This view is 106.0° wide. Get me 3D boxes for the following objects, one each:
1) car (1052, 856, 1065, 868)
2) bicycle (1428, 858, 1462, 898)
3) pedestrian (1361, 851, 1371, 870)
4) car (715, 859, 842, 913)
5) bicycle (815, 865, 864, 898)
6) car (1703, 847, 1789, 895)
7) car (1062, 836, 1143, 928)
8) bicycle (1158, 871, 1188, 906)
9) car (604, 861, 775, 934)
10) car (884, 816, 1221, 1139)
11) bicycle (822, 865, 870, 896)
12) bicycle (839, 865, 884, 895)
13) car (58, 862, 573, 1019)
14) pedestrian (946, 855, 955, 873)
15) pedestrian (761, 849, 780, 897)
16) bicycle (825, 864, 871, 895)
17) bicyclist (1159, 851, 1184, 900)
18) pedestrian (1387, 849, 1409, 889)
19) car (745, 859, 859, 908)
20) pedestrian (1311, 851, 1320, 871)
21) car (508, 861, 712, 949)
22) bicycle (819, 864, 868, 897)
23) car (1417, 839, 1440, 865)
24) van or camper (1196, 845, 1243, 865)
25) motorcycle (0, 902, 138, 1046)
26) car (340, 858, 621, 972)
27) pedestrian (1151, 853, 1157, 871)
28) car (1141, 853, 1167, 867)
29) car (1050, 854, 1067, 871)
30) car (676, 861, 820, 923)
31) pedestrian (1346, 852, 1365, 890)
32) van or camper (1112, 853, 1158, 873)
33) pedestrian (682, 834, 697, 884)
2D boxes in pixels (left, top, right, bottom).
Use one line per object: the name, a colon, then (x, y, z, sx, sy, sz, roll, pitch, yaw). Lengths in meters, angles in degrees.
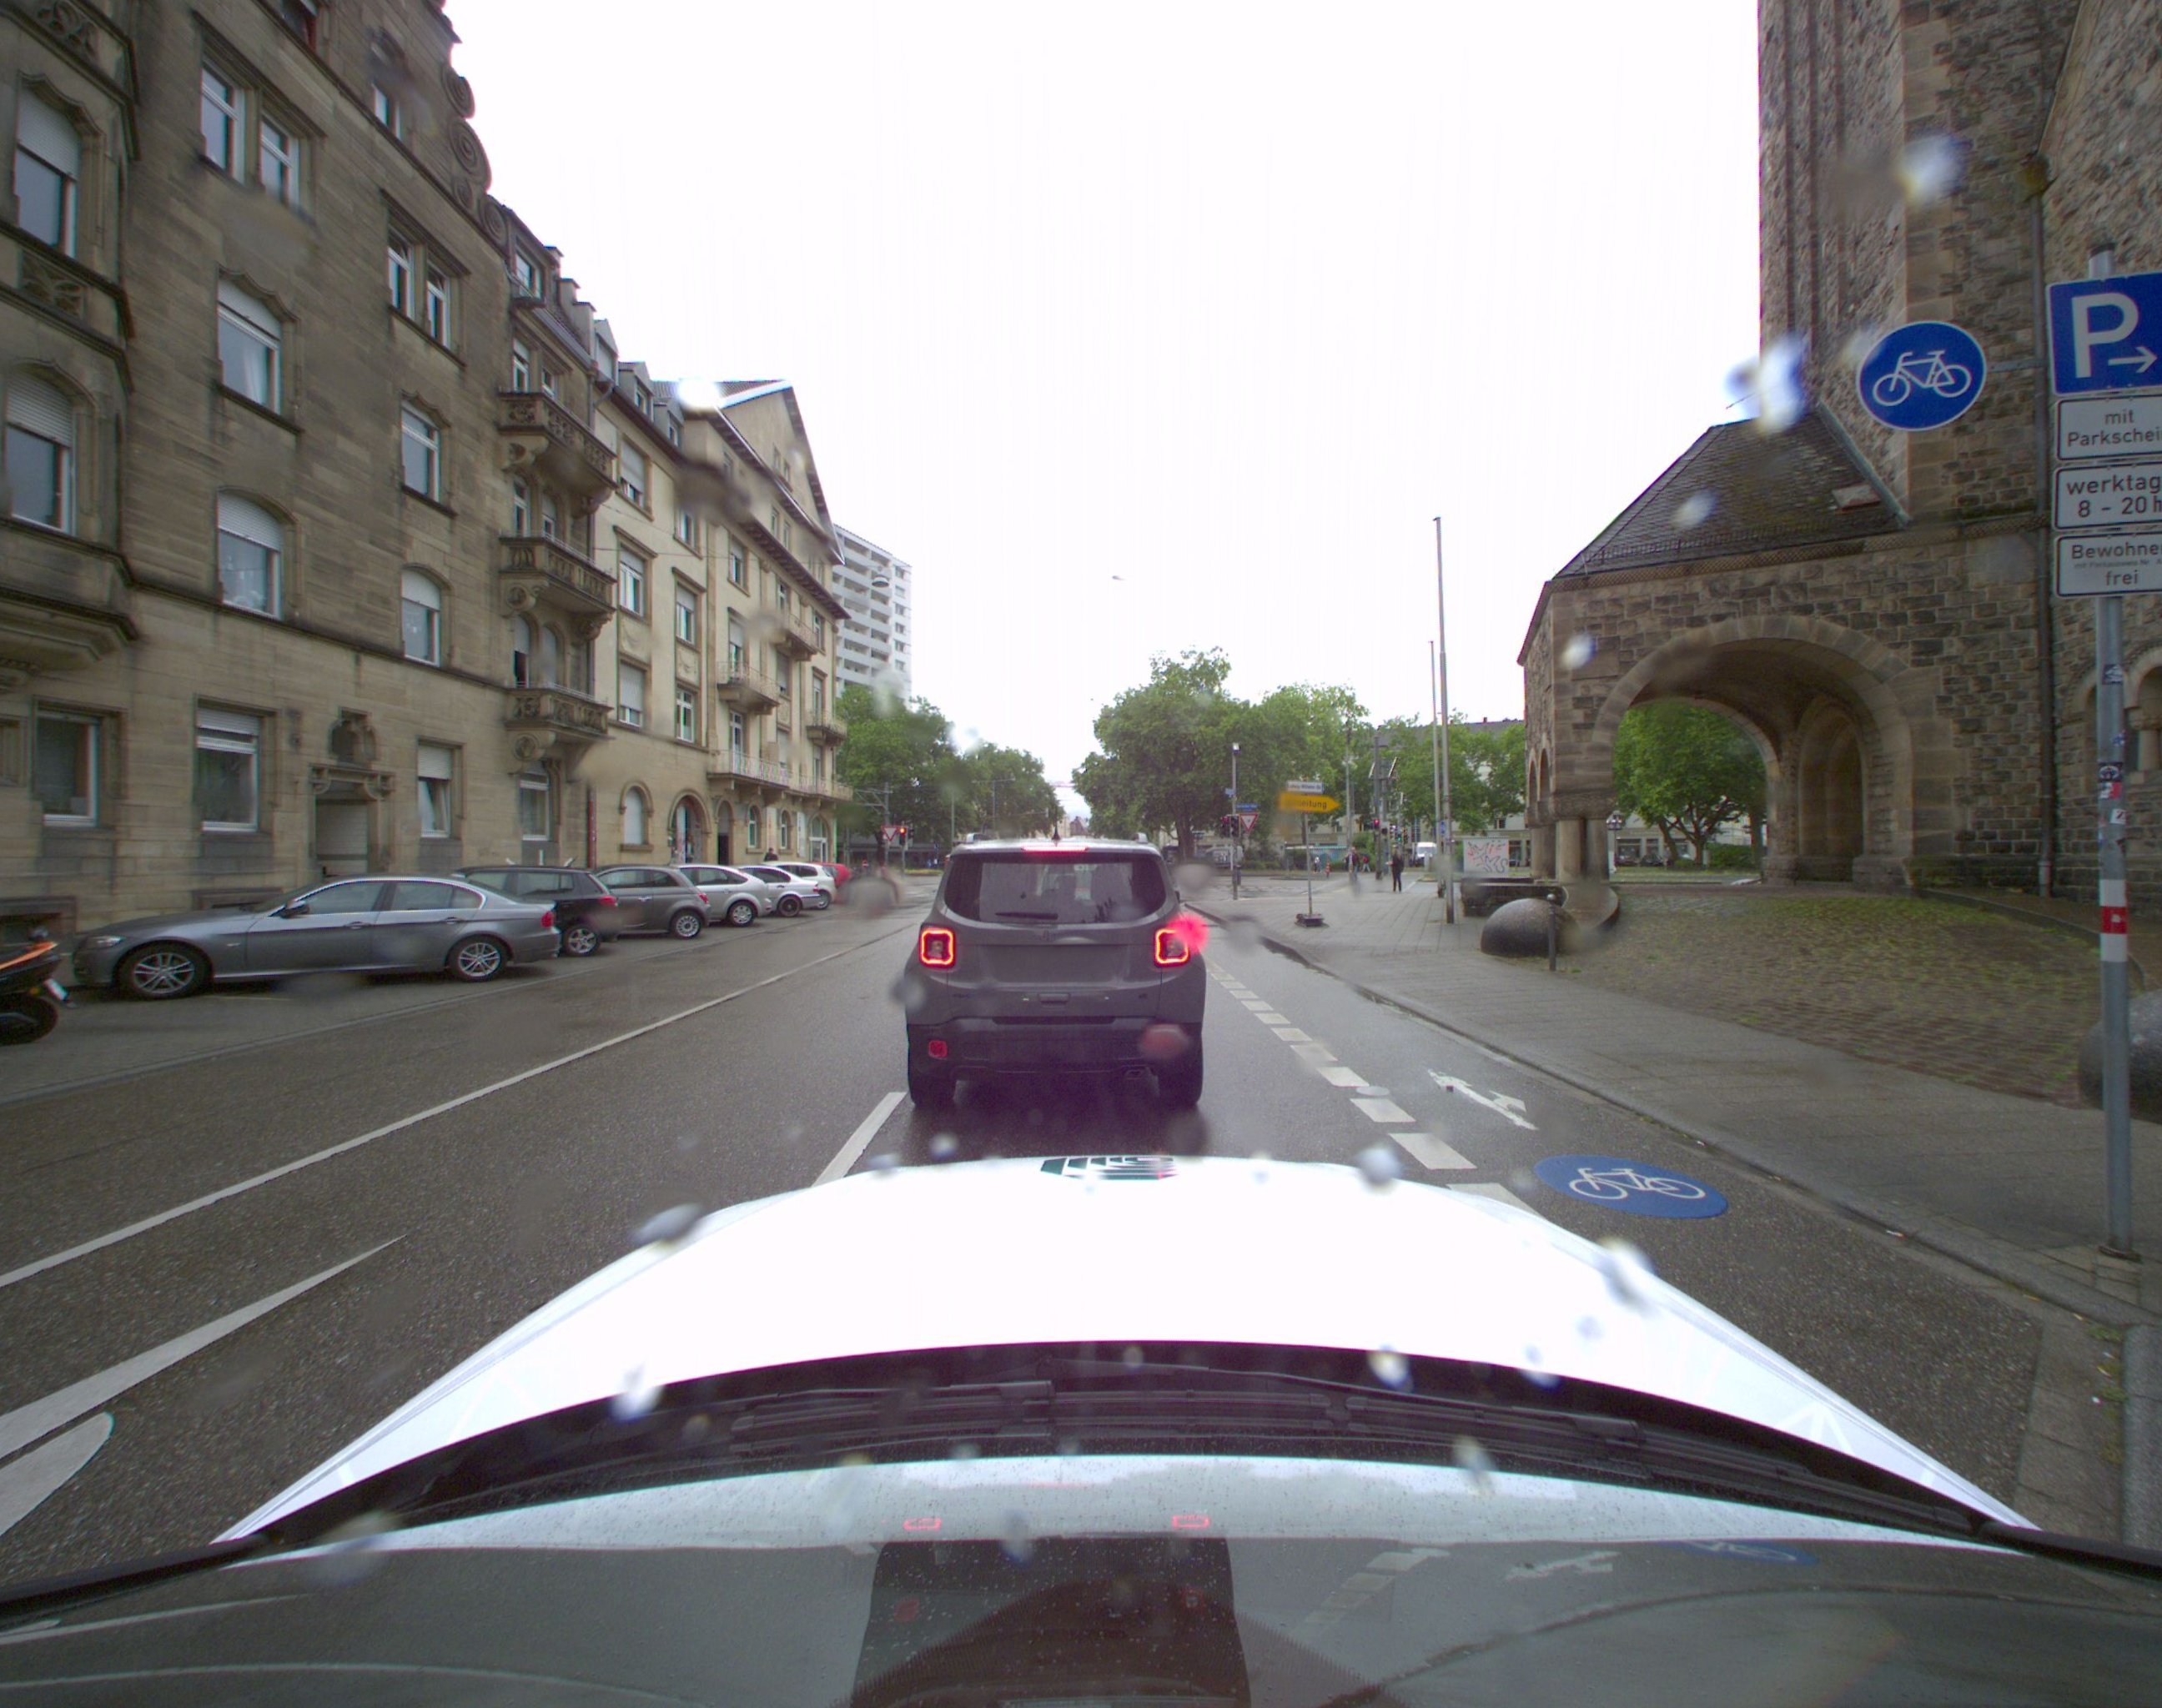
car: (-3.232, 1.093, 117.340, 1.810, 1.670, 3.916, -1, 0, -3)
bicycle: (10.998, 0.700, 24.671, 0.327, 1.154, 2.079, -1, 0, 7)
pedestrian: (23.169, 0.519, 66.236, 0.667, 1.554, 0.766, -1, -2, 29)
car: (-9.505, 0.948, 25.650, 3.419, 1.558, 1.686, -1, 0, -38)
bicycle: (-9.588, 1.083, 32.355, 1.758, 1.266, 0.522, -1, -1, -1)
car: (21.482, 0.518, 26.407, 1.389, 1.479, 3.239, -1, 0, 25)
car: (0.518, 0.619, 19.938, 1.764, 2.013, 4.001, -1, 0, 1)
bicycle: (3.054, 1.123, 27.214, 0.689, 1.021, 2.658, -2, 0, 1)
car: (-9.385, 0.973, 19.602, 3.419, 1.558, 1.686, -1, 0, -38)
car: (-0.129, 0.666, 6.319, 1.769, 1.687, 3.848, -2, 0, 1)
bicycle: (-9.702, 1.090, 33.589, 1.804, 1.266, 0.498, -1, -1, -1)
bicycle: (-9.562, 1.122, 35.494, 1.758, 1.266, 0.608, -1, -1, -1)
car: (-9.407, 0.923, 10.561, 4.573, 1.545, 1.668, -1, 0, -42)
pedestrian: (-12.985, 0.990, 81.037, 0.622, 1.826, 0.688, -1, -1, -27)
pedestrian: (-13.384, 0.814, 35.106, 0.565, 2.014, 0.655, -1, -1, 1)
bicycle: (-9.914, 1.081, 34.623, 1.758, 1.266, 0.608, -1, -1, -1)
bicyclist: (3.020, 0.704, 27.291, 0.684, 1.617, 0.884, -2, 0, 0)
pedestrian: (13.180, 0.622, 33.829, 0.775, 1.645, 0.659, -2, -1, 25)
car: (-9.762, 0.986, 28.525, 3.419, 1.558, 1.686, -1, 0, -38)
pedestrian: (19.171, 0.581, 66.675, 0.607, 1.603, 0.497, -1, -1, 26)
car: (-9.533, 0.949, 16.575, 3.419, 1.558, 1.634, -1, 0, -38)
bicycle: (-9.591, 1.077, 32.903, 1.804, 1.266, 0.498, -1, -1, -1)
car: (35.516, -0.203, 83.219, 1.889, 2.555, 4.815, -1, 0, 25)
van or camper: (16.056, 0.141, 94.640, 5.234, 2.315, 2.093, 0, 0, 5)
motorcycle: (-9.404, 1.003, 6.786, 1.880, 1.162, 0.627, 2, -2, -36)
car: (-9.776, 0.893, 13.491, 3.571, 1.598, 1.587, -1, 0, -38)
pedestrian: (8.302, 0.906, 92.597, 0.646, 2.014, 0.484, -1, -1, 14)
car: (10.726, 0.874, 119.480, 3.411, 2.014, 1.554, -2, -1, 15)
car: (-2.369, 0.885, 85.215, 1.717, 1.739, 3.726, -1, 0, -2)
car: (-9.279, 1.006, 22.785, 3.419, 1.558, 1.686, -1, 0, -38)
pedestrian: (13.075, 0.793, 38.776, 0.780, 1.759, 0.949, -2, -1, 16)
van or camper: (8.219, 1.410, 124.779, 6.466, 2.912, 2.509, -1, 0, 26)
pedestrian: (-14.415, 0.195, 29.997, 0.365, 1.823, 0.347, -2, -1, -1)
